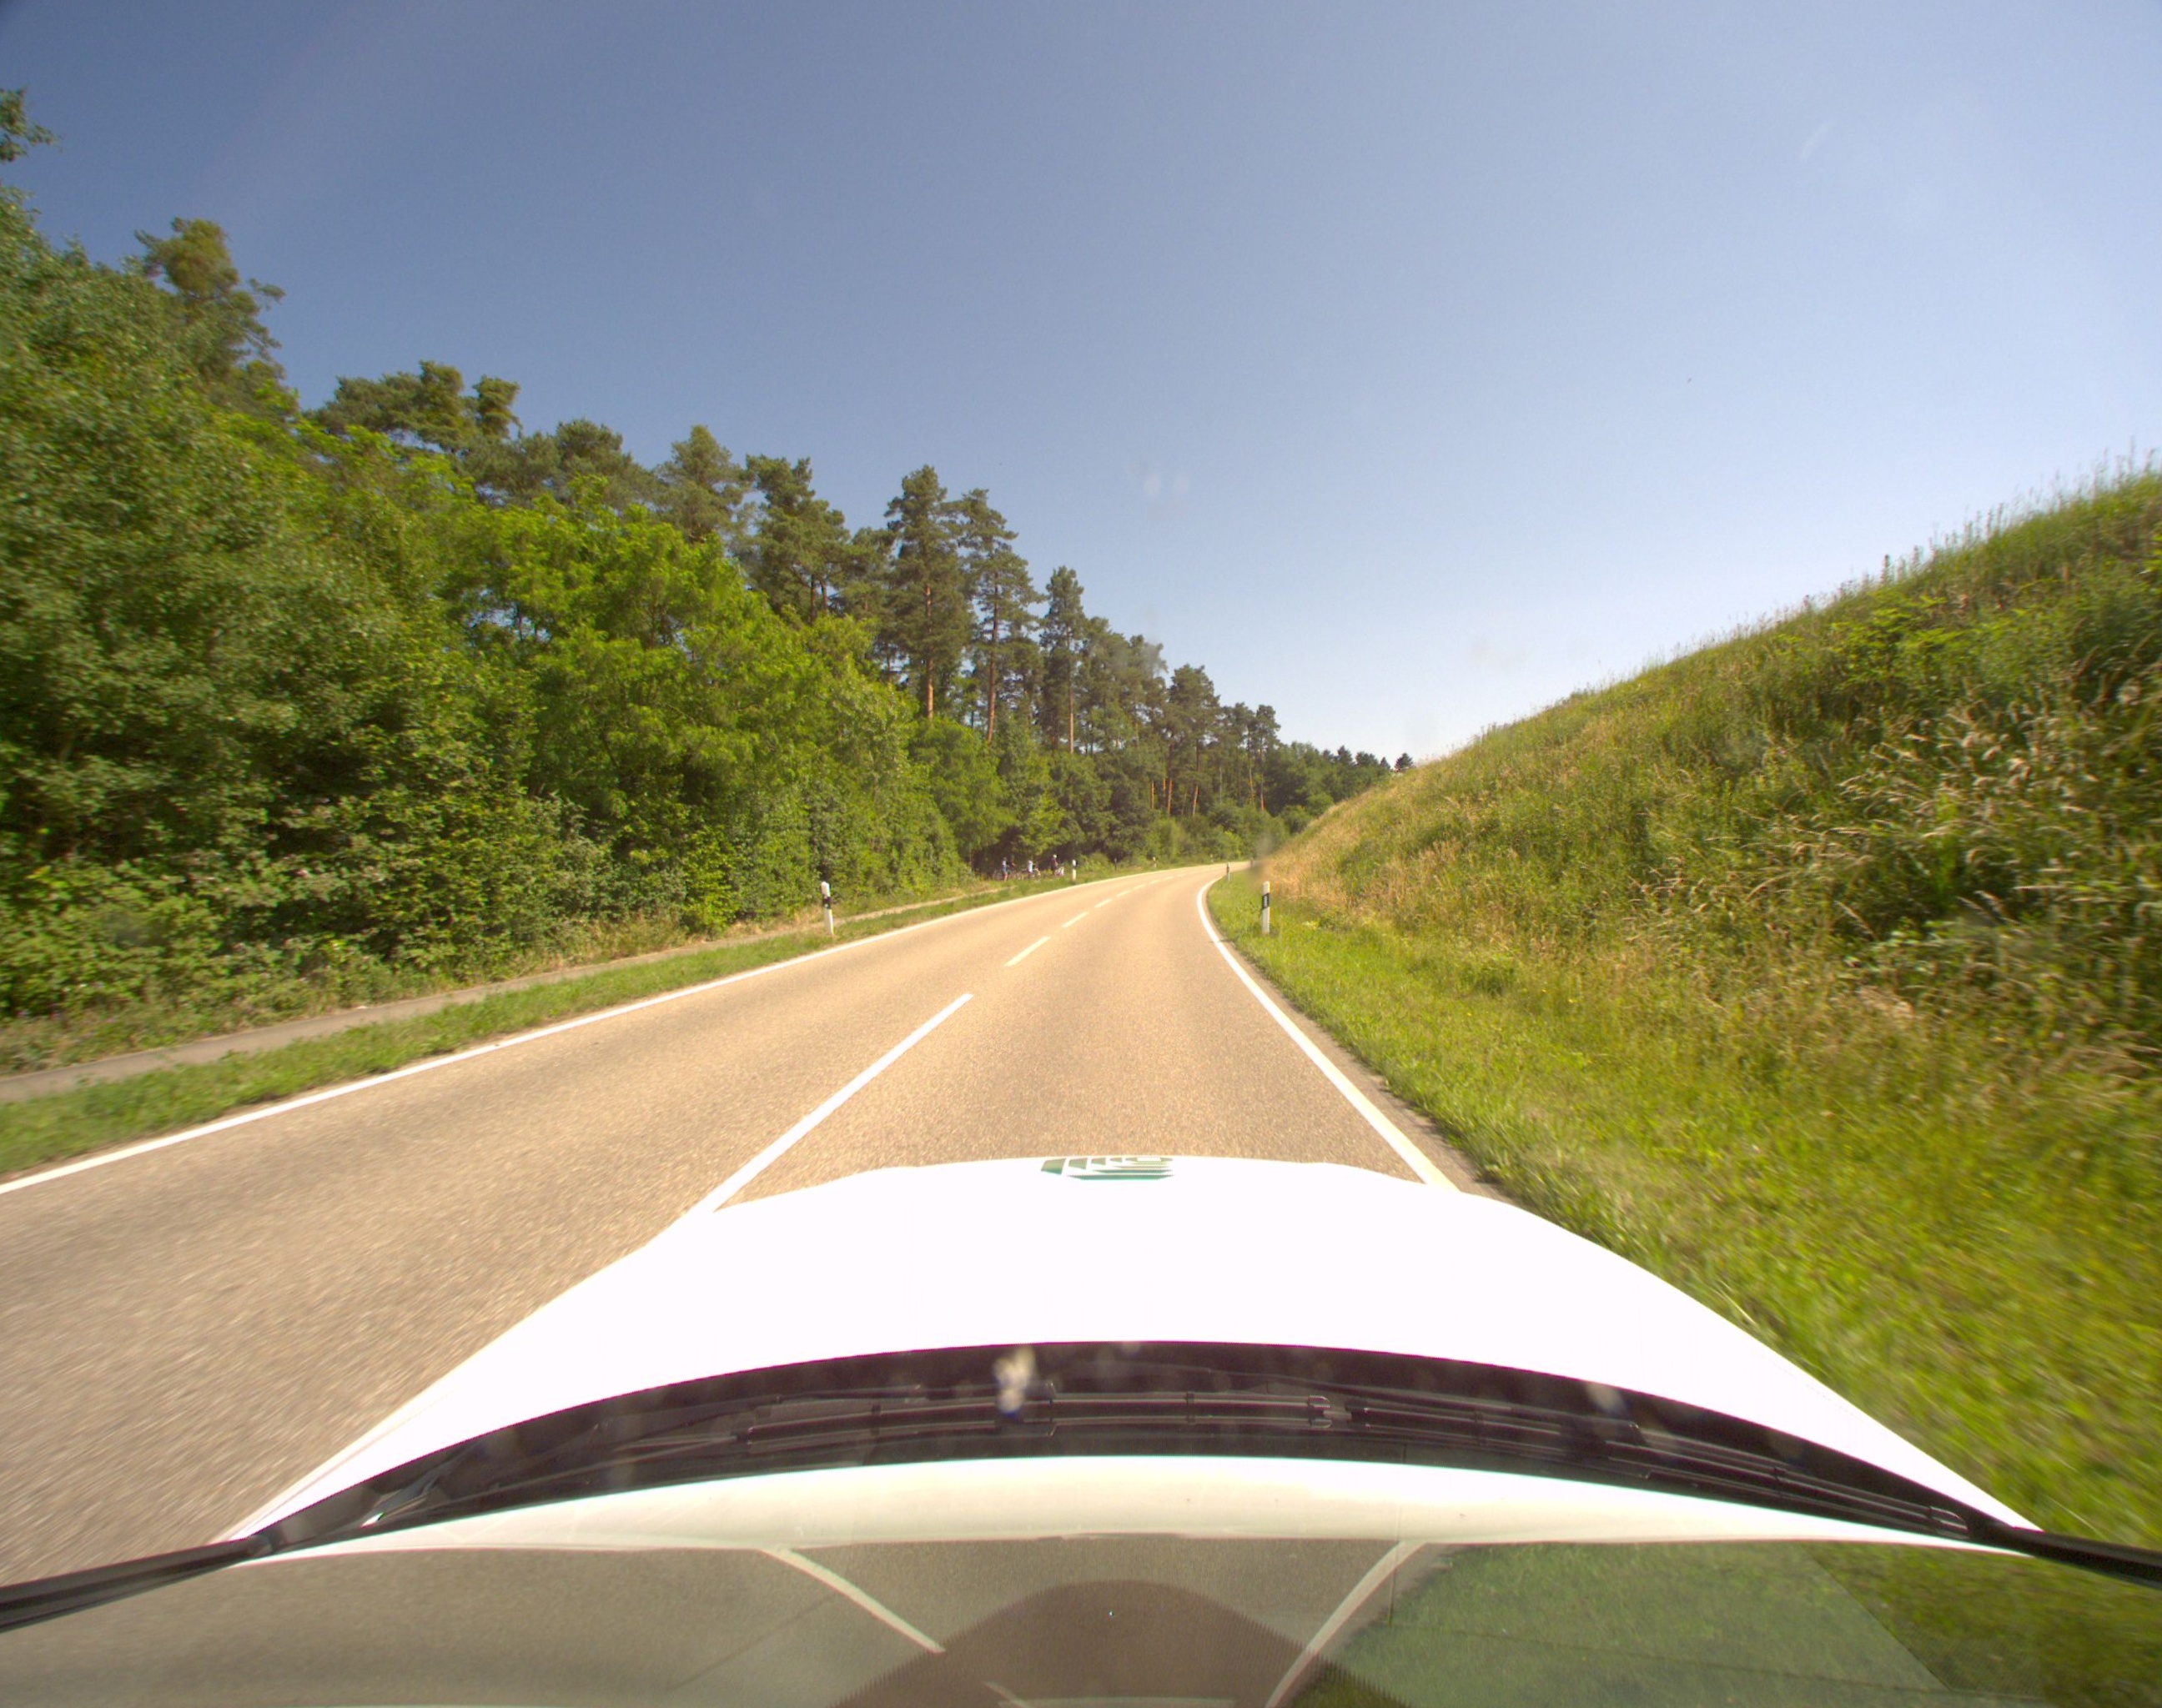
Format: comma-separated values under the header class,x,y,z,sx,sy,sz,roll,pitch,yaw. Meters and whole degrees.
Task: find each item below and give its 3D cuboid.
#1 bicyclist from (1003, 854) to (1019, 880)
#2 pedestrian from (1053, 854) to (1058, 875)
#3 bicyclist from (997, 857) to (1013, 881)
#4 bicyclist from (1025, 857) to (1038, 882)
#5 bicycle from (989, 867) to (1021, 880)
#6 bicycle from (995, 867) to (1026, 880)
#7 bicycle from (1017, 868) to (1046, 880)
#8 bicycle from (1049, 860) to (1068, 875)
class,x,y,z,sx,sy,sz,roll,pitch,yaw
bicyclist,-4.650,0.843,53.926,0.853,1.701,0.600,0,-1,-32
pedestrian,-1.948,0.805,62.100,0.282,1.538,0.391,-2,0,9
bicyclist,-4.904,0.967,52.703,0.874,1.545,0.600,0,-1,-32
bicyclist,-3.489,1.097,57.534,0.791,1.719,0.601,0,-1,-26
bicycle,-4.903,1.241,52.690,1.992,0.829,0.600,0,-1,-33
bicycle,-4.688,1.312,53.908,1.992,0.829,0.600,0,-1,-33
bicycle,-3.469,1.438,57.545,1.989,0.829,0.601,0,-1,-26
bicycle,-1.681,1.051,62.110,0.575,1.086,1.456,1,2,43
